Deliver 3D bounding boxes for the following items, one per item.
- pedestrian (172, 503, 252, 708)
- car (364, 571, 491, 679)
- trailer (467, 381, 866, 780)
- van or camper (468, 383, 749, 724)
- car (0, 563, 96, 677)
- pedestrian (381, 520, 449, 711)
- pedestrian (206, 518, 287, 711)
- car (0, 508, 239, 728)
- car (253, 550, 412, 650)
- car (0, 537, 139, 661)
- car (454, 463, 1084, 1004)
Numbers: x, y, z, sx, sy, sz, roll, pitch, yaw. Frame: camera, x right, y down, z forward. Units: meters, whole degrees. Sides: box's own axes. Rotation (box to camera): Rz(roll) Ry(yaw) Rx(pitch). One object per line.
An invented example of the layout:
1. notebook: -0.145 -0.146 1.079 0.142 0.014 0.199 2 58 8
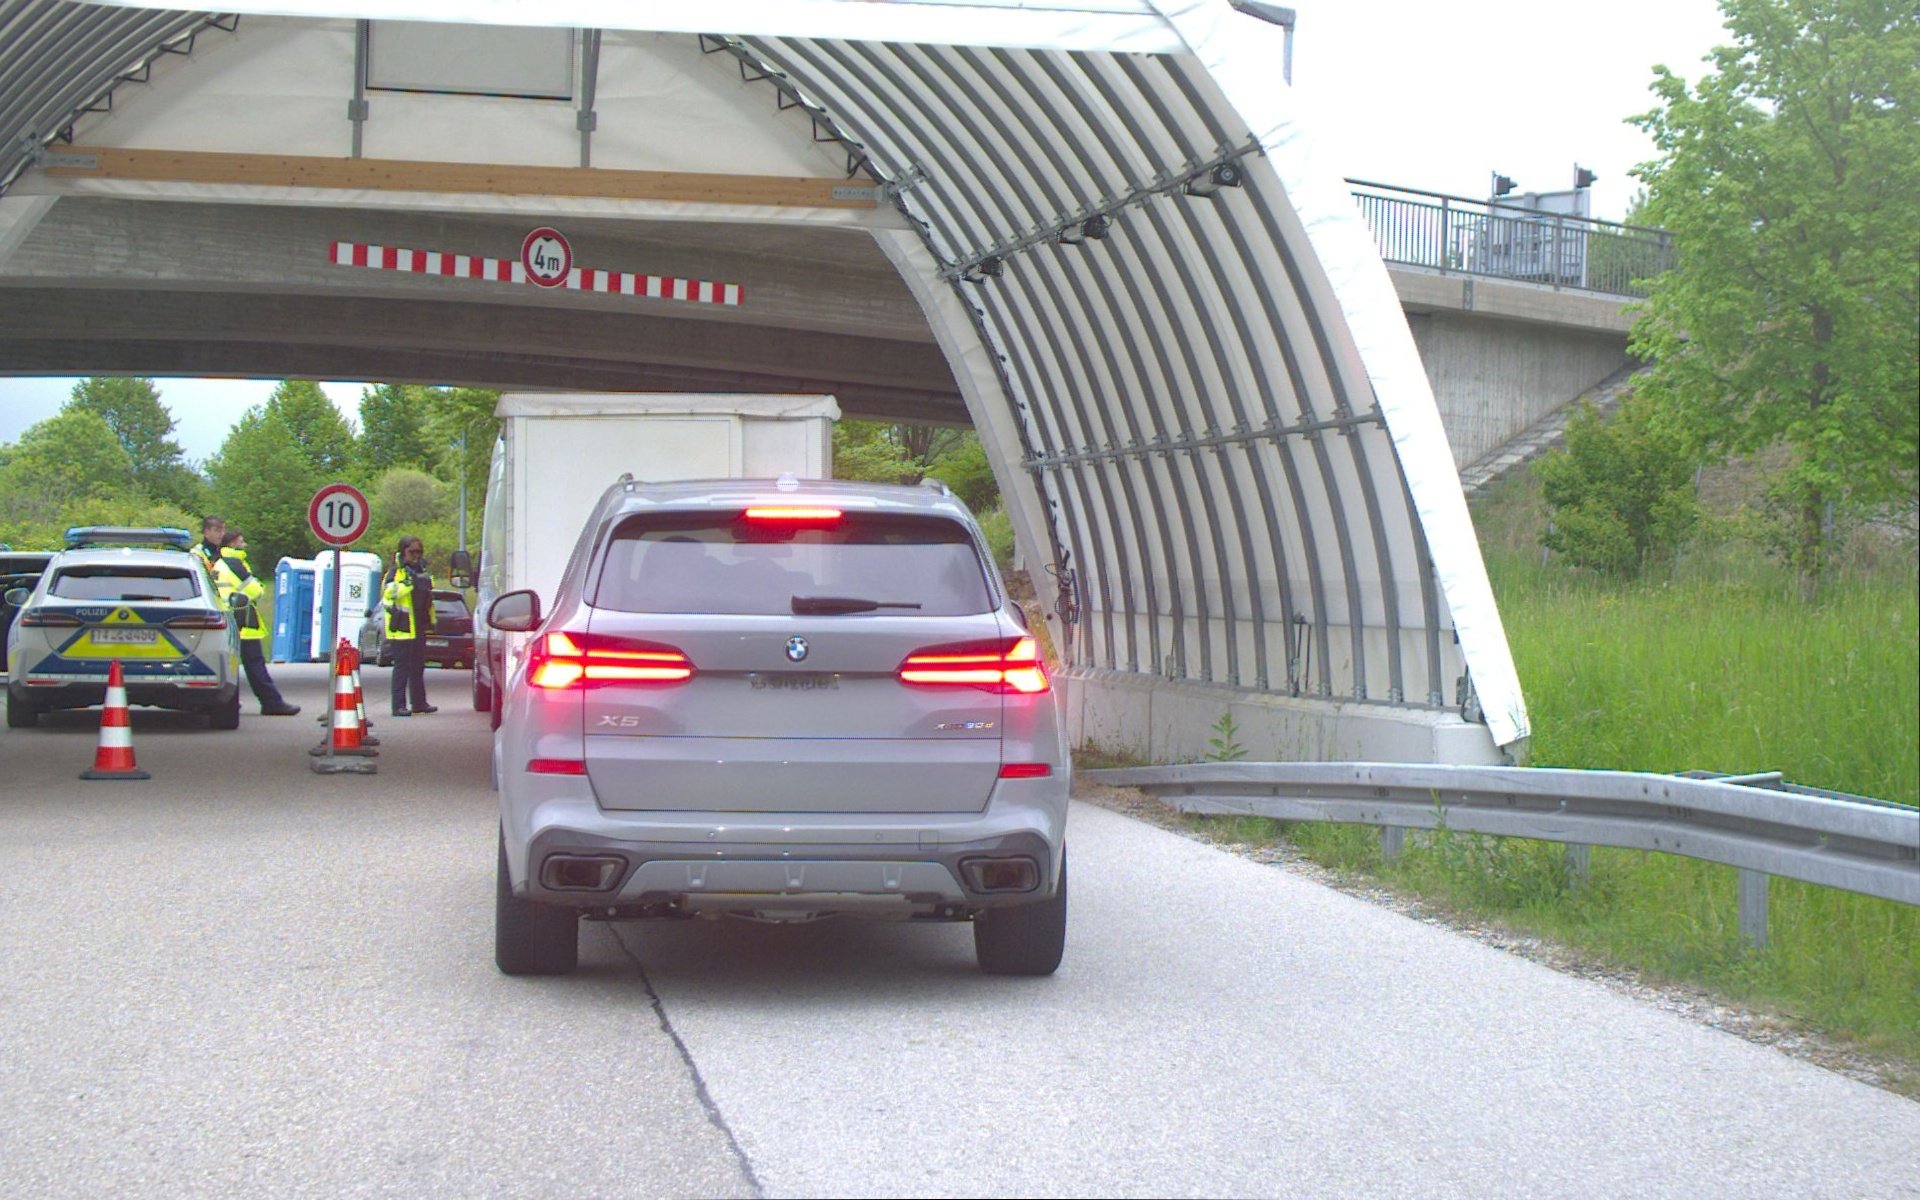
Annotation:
1. pedestrian: -7.154 0.050 32.908 0.720 1.939 0.690 0 0 -11
2. car: -9.505 0.412 61.158 1.703 1.848 4.001 0 1 -16
3. trailer: -2.270 -0.101 24.407 2.278 2.422 6.819 0 0 -9
4. van or camper: -3.264 -0.361 30.821 2.156 2.754 5.872 0 0 -9
5. car: -12.686 0.243 45.022 1.515 1.437 3.315 0 1 -37
6. pedestrian: -5.108 0.144 32.216 0.604 1.769 0.650 0 0 -11
7. pedestrian: -6.622 0.132 31.940 0.720 1.769 0.690 0 0 -11
8. car: -7.227 0.127 29.525 1.993 1.766 3.766 0 0 -11
9. car: -12.959 -0.018 70.834 1.993 2.007 4.000 0 0 -30
10. car: -14.638 -0.018 51.960 3.987 1.848 1.709 0 0 5
11. car: -0.730 0.423 12.941 1.993 1.714 4.000 0 0 -4
